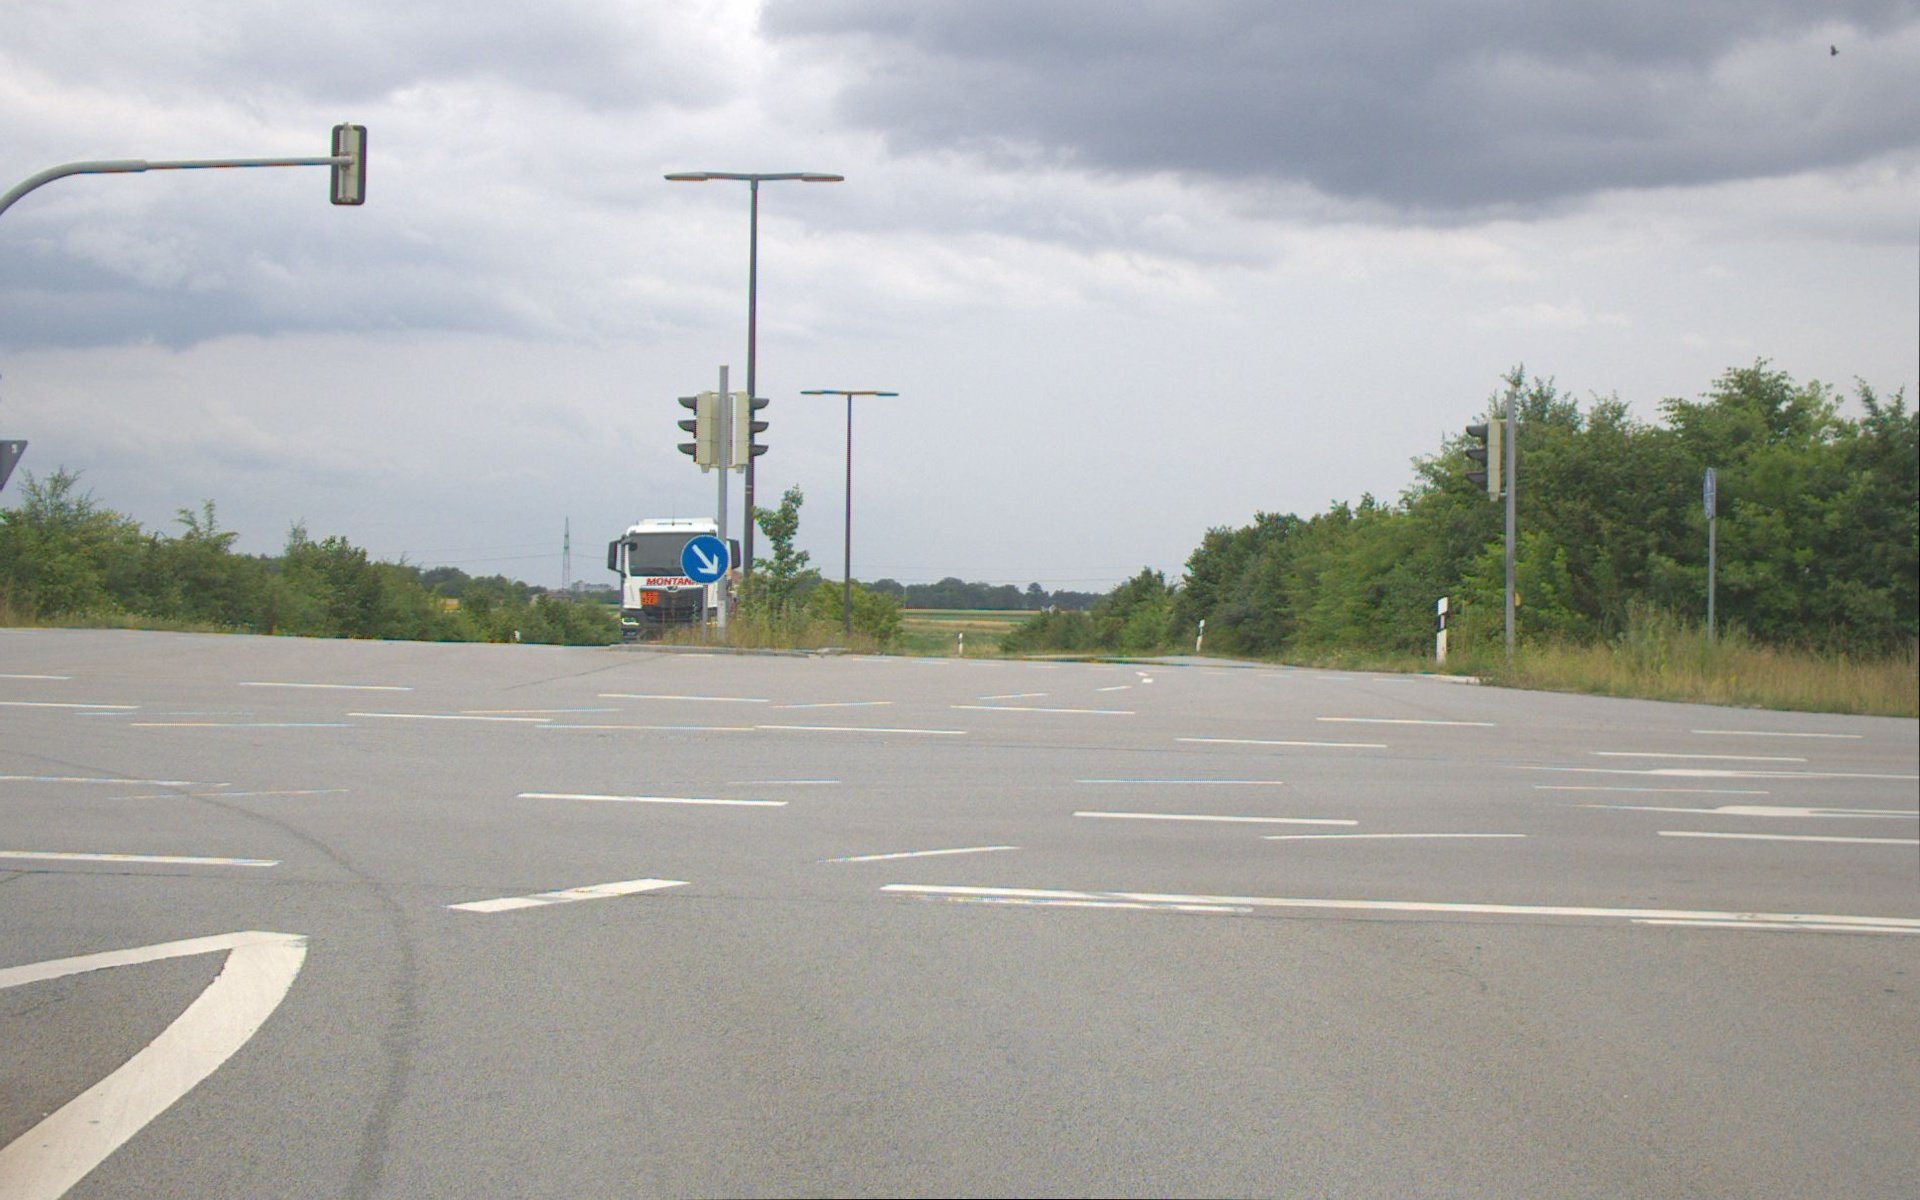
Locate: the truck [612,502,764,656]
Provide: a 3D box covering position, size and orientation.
[{"bbox_3d":[-6.273,-0.421,80.608,2.869,3.396,8.650,1,-1,0],"label":"truck"}]
